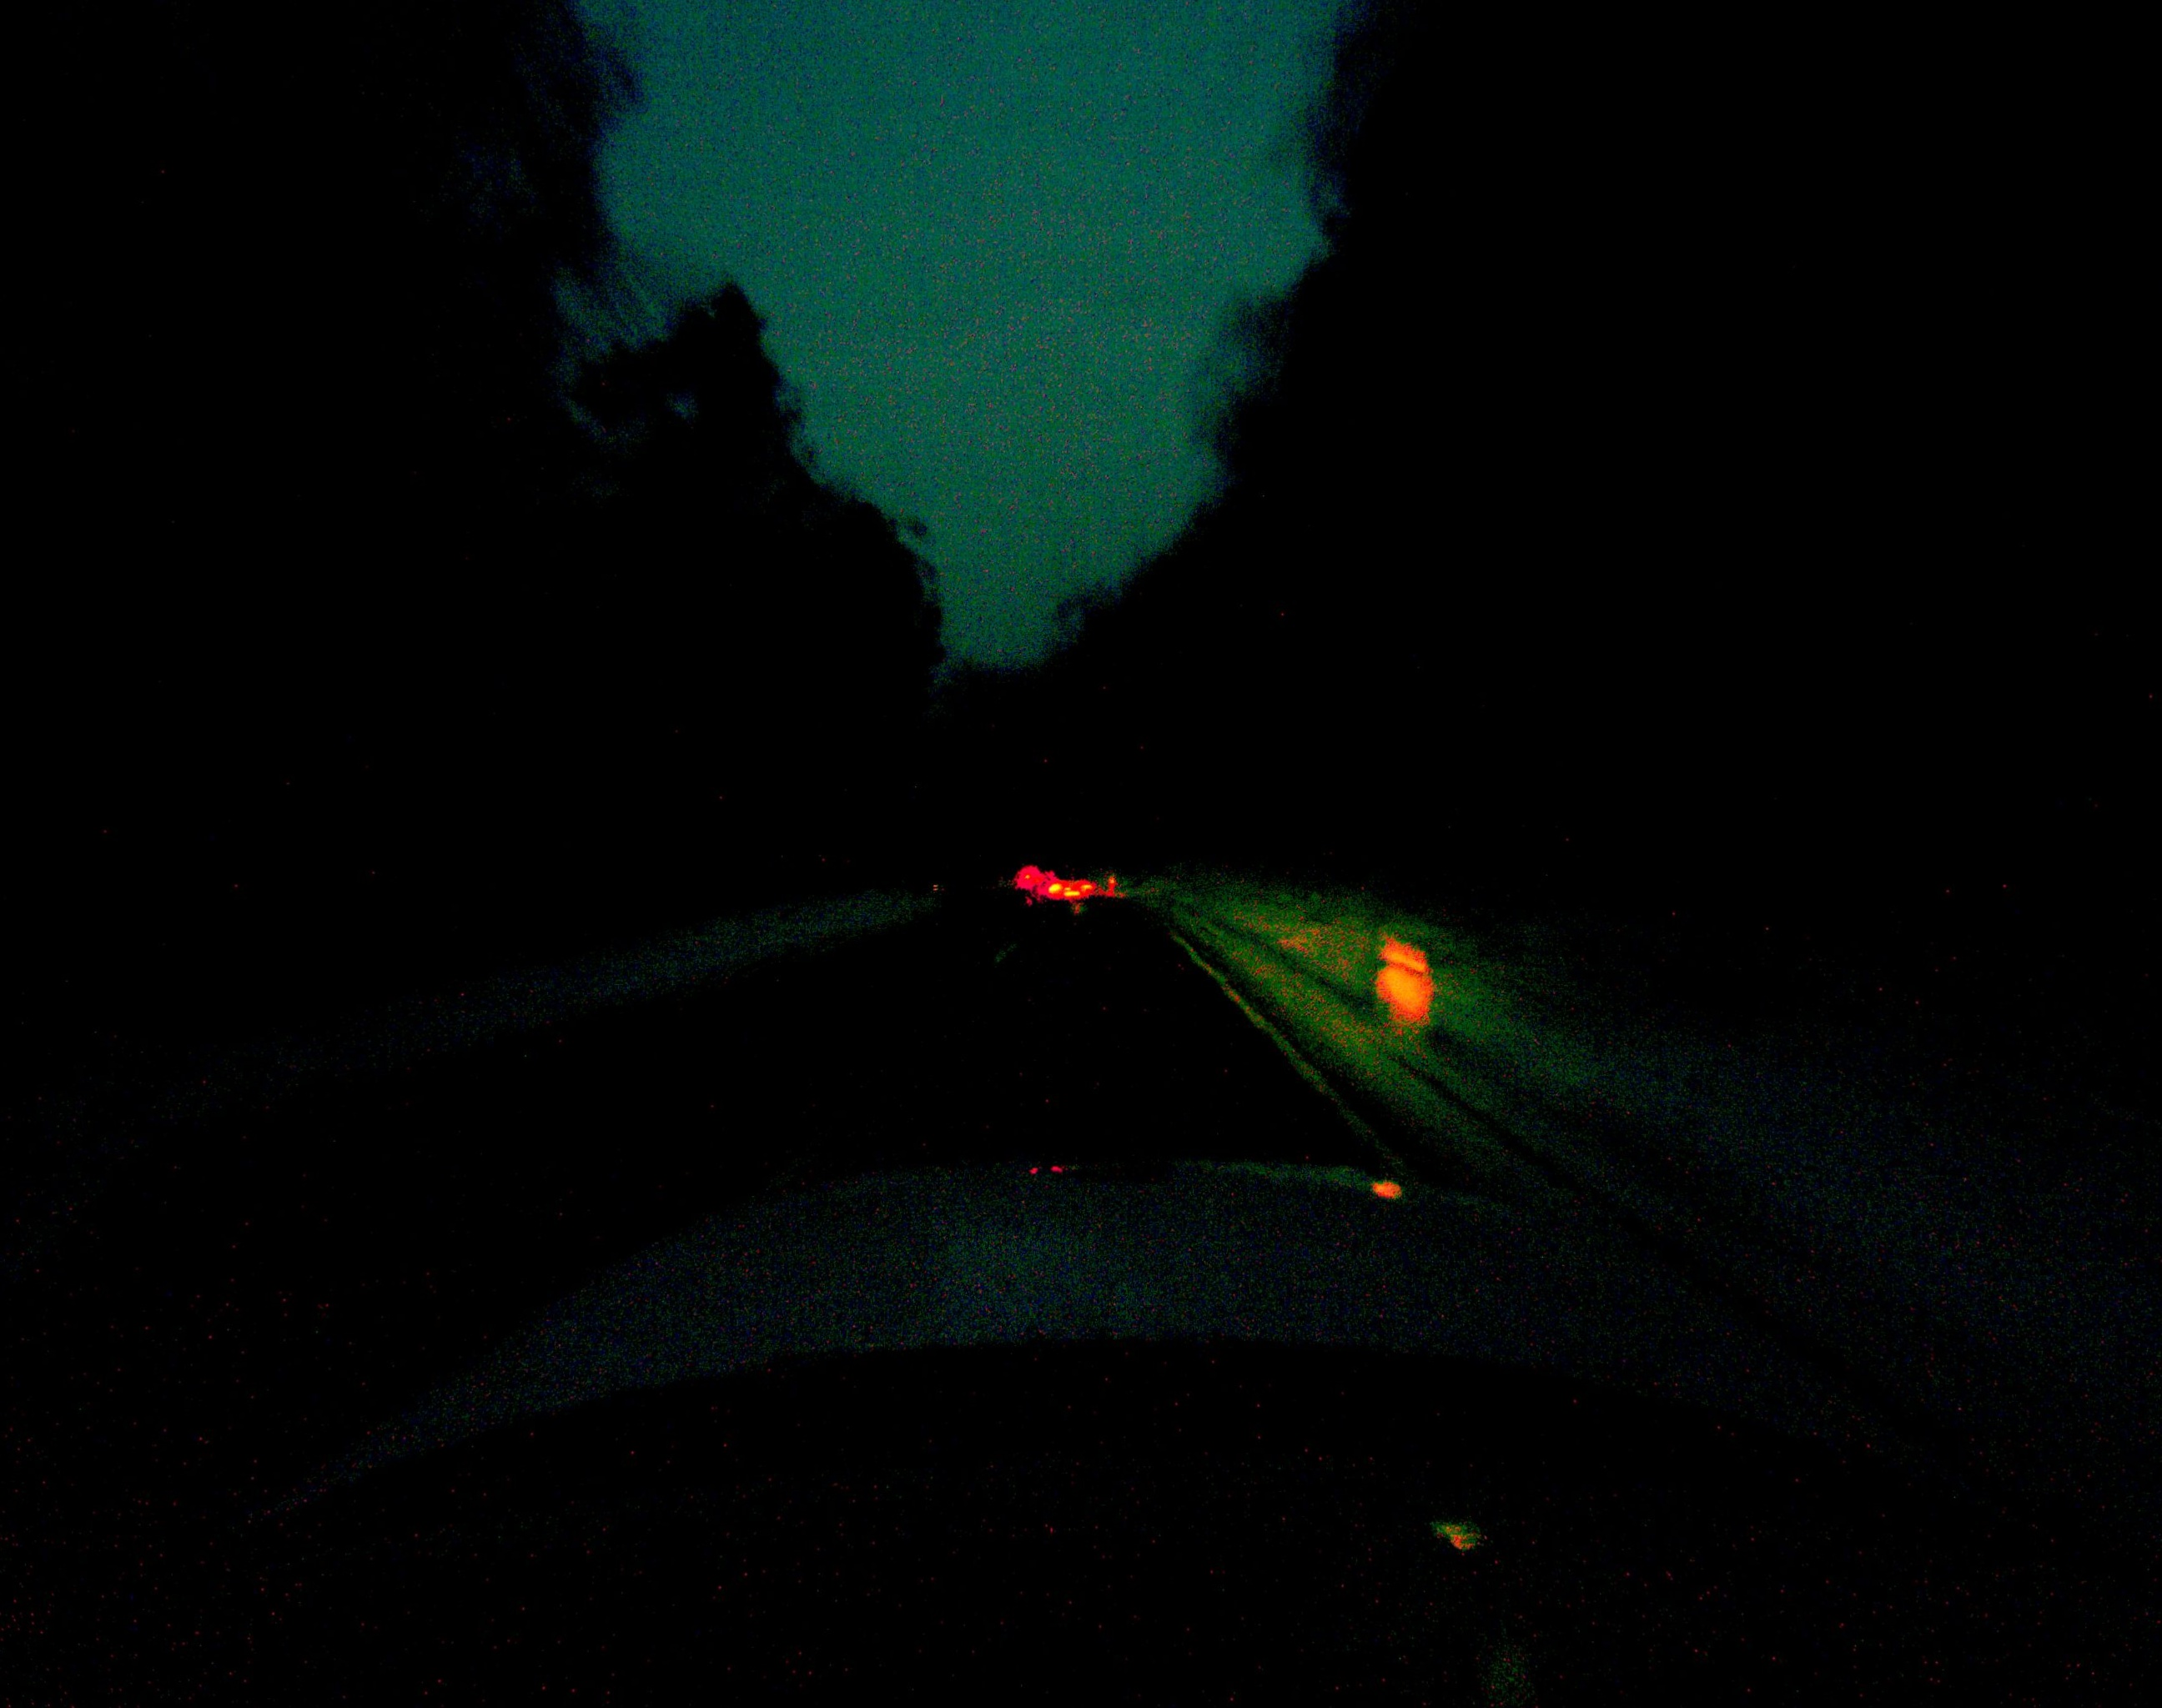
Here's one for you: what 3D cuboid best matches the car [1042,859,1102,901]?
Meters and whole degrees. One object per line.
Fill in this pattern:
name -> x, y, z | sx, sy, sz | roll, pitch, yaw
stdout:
car -> -0.403, 0.996, 29.816 | 1.942, 1.382, 3.992 | 1, -3, -5

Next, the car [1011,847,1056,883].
car -> -2.839, 0.690, 47.809 | 1.995, 1.783, 3.982 | 3, -4, -12
